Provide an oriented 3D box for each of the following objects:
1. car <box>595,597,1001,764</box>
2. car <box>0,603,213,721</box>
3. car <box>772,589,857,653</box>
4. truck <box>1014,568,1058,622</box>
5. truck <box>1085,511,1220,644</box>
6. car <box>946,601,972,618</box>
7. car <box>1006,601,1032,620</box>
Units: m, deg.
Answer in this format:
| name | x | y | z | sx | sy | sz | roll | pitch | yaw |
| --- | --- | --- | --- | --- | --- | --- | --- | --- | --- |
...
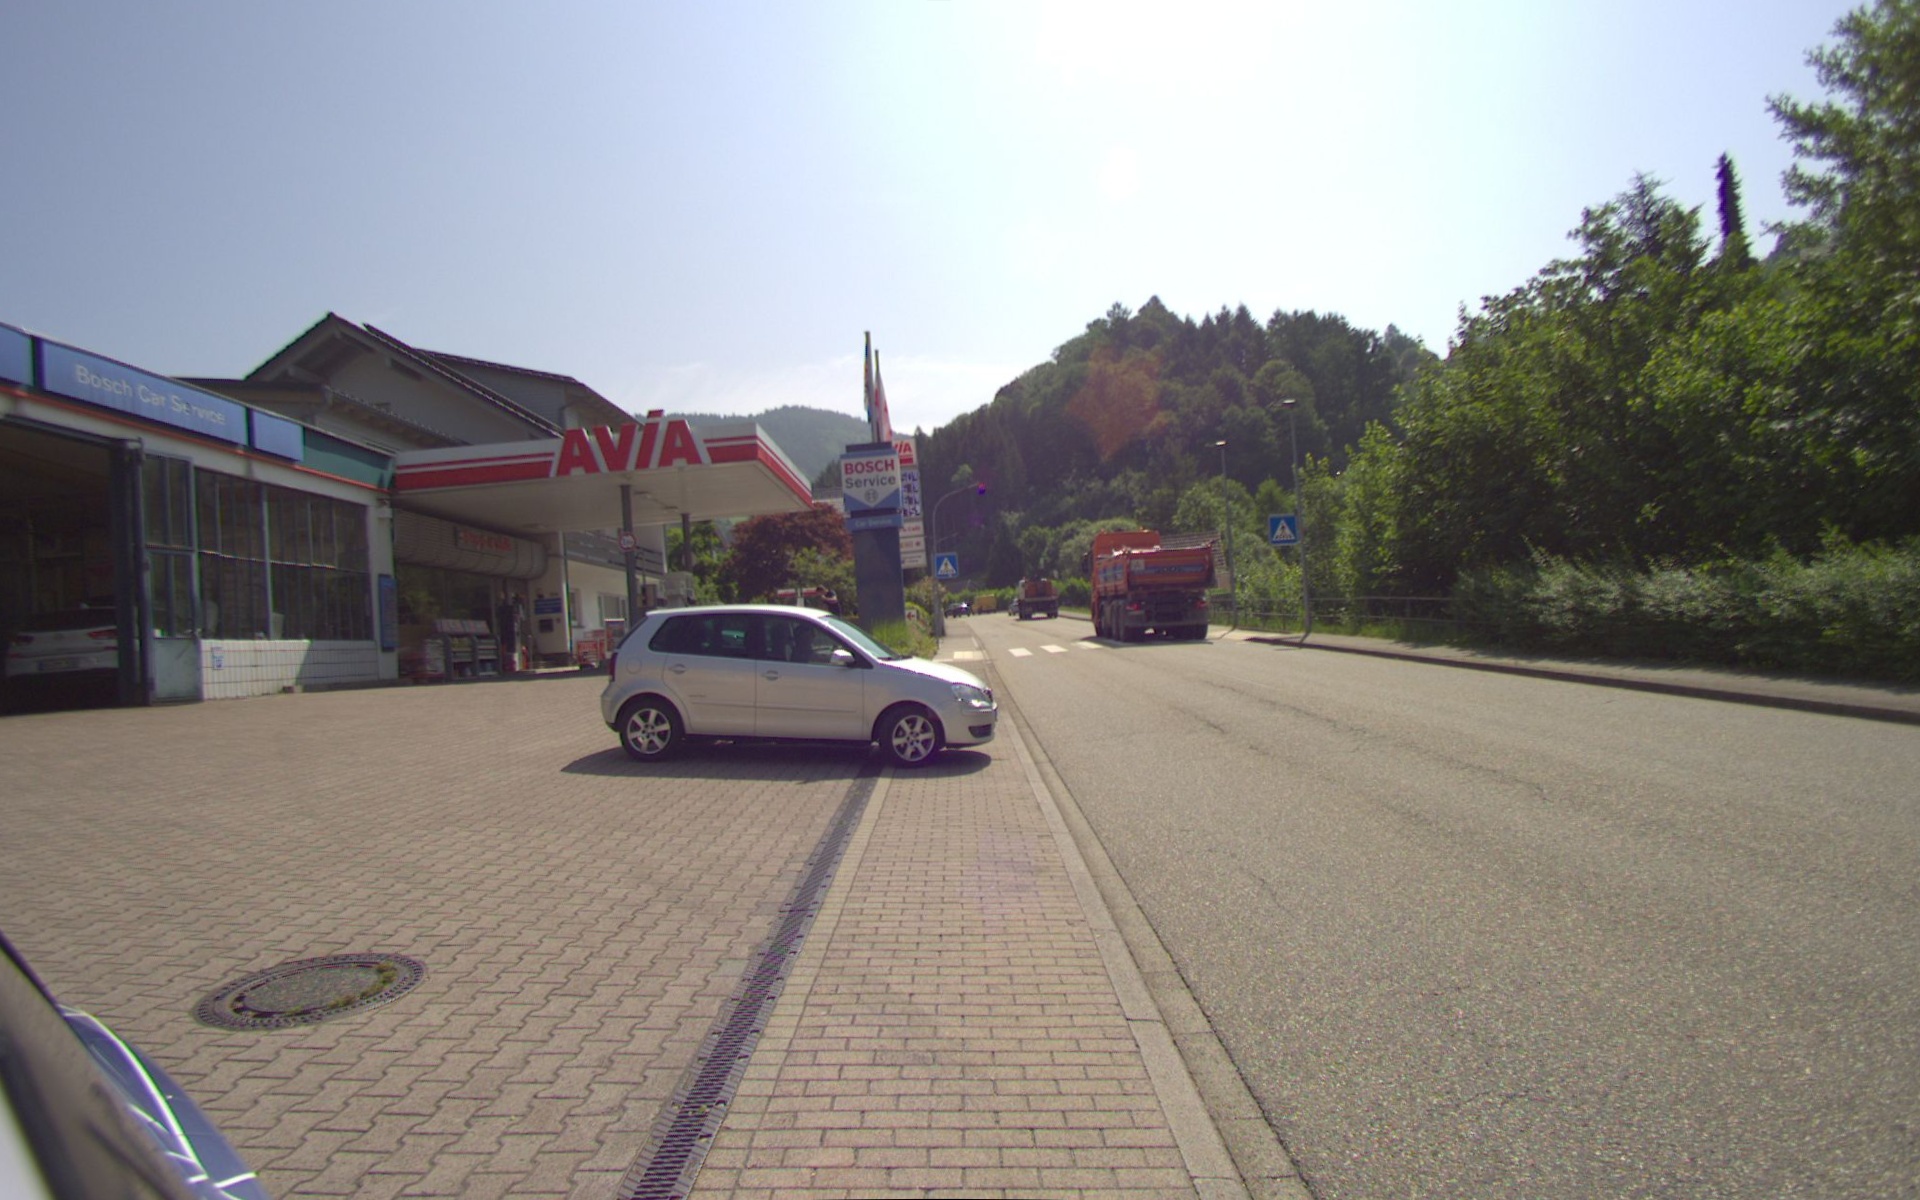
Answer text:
| name | x | y | z | sx | sy | sz | roll | pitch | yaw |
| --- | --- | --- | --- | --- | --- | --- | --- | --- | --- |
| car | -1.457 | 0.718 | 9.943 | 3.708 | 1.493 | 1.594 | 0 | 0 | 4 |
| car | -14.040 | 0.910 | 16.797 | 1.578 | 1.701 | 3.943 | -1 | 0 | -20 |
| car | -3.865 | 0.535 | 27.433 | 1.674 | 1.589 | 3.910 | -1 | 0 | 1 |
| truck | 5.411 | -0.344 | 73.116 | 2.616 | 3.609 | 7.770 | -3 | 0 | 1 |
| truck | 5.892 | -0.629 | 32.367 | 2.616 | 3.609 | 8.192 | -3 | 0 | 0 |
| car | -0.121 | 0.982 | 106.642 | 1.835 | 1.791 | 3.713 | -1 | 0 | -14 |
| car | 5.060 | 0.883 | 87.031 | 1.762 | 1.586 | 3.601 | -1 | 0 | -3 |
